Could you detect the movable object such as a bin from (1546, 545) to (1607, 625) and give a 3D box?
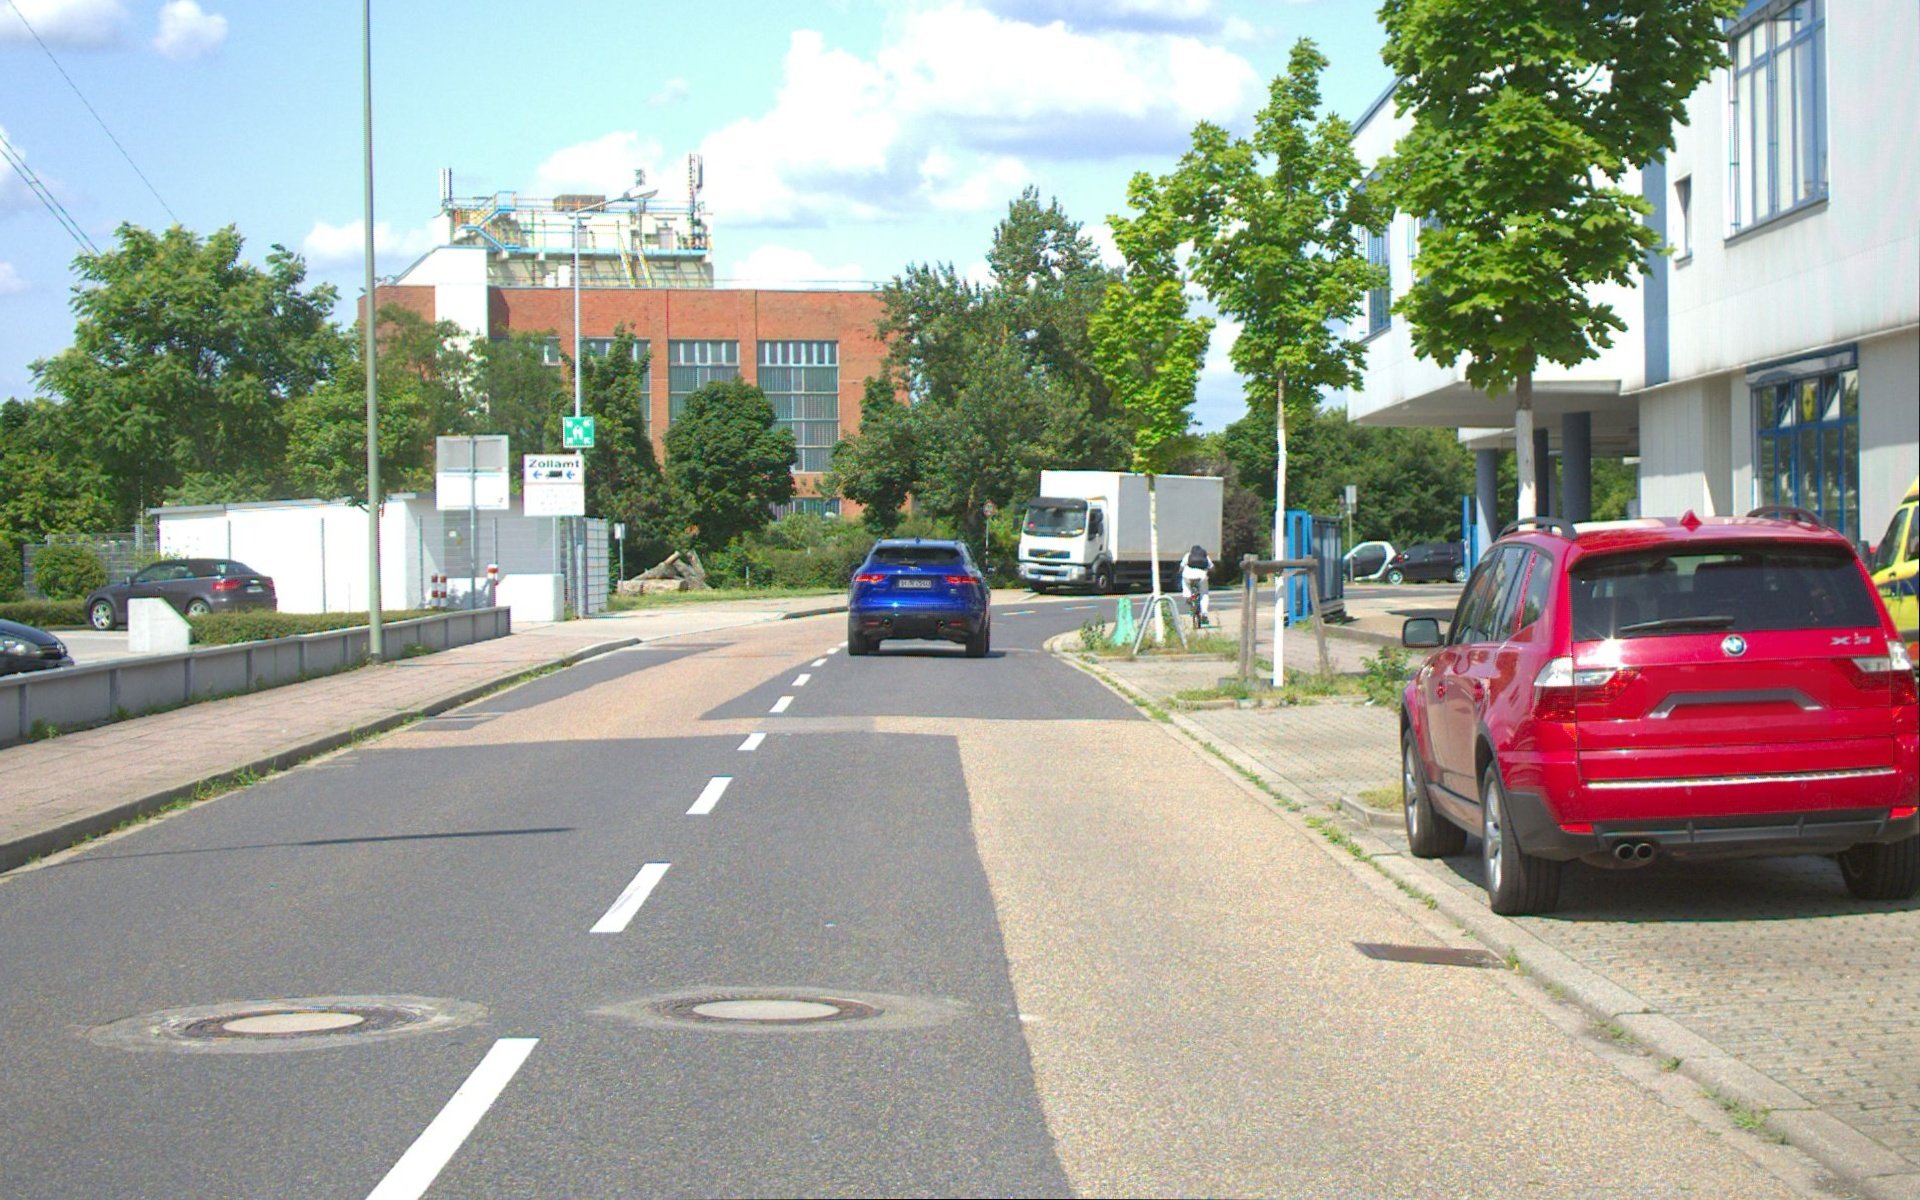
[{"bbox_3d":[10.949,-0.276,61.094,0.804,1.409,1.175,0,0,-3],"label":"movable object such as a bin"}]

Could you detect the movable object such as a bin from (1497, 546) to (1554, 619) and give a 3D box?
[{"bbox_3d":[11.016,-0.351,67.009,0.804,1.409,1.358,0,1,-3],"label":"movable object such as a bin"}]

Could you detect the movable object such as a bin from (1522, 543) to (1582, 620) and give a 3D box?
[{"bbox_3d":[11.040,-0.349,64.117,0.804,1.409,1.406,0,1,-3],"label":"movable object such as a bin"}]

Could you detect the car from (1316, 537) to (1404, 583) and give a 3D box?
[{"bbox_3d":[13.747,-1.365,118.128,2.898,1.564,1.890,0,0,3],"label":"car"}]

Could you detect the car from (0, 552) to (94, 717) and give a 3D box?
[{"bbox_3d":[-9.715,0.298,29.741,3.987,1.371,1.804,-1,1,0],"label":"car"}]

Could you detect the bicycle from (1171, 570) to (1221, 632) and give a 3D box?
[{"bbox_3d":[4.396,0.017,63.829,0.667,1.105,2.167,-1,1,11],"label":"bicycle"}]

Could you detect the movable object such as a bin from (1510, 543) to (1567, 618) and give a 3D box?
[{"bbox_3d":[11.021,-0.374,65.529,0.804,1.409,1.358,0,1,-3],"label":"movable object such as a bin"}]

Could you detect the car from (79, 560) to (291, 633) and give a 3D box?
[{"bbox_3d":[-15.285,-0.080,67.726,3.994,1.373,1.800,0,1,34],"label":"car"}]

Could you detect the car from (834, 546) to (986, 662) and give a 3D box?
[{"bbox_3d":[-0.674,0.024,49.436,1.909,1.588,4.701,0,1,3],"label":"car"}]

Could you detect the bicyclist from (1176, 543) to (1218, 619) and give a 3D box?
[{"bbox_3d":[4.408,-0.351,63.917,0.663,1.393,0.858,-1,1,11],"label":"bicyclist"}]

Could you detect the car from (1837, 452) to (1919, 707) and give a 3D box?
[{"bbox_3d":[10.181,-0.198,33.393,1.924,2.455,5.260,0,1,-1],"label":"car"}]

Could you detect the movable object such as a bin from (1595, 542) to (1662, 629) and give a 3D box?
[{"bbox_3d":[11.041,-0.244,56.807,0.804,1.409,1.358,0,1,-1],"label":"movable object such as a bin"}]

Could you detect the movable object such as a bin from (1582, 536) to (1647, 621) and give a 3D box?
[{"bbox_3d":[11.089,-0.367,58.275,0.804,1.409,1.358,0,1,-1],"label":"movable object such as a bin"}]

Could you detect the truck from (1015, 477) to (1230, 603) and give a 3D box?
[{"bbox_3d":[4.938,-1.851,102.025,2.325,3.555,9.352,2,2,30],"label":"truck"}]

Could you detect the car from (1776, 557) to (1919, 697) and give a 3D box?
[{"bbox_3d":[10.377,0.264,38.395,1.572,1.485,3.817,0,1,-1],"label":"car"}]

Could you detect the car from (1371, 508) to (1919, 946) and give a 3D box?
[{"bbox_3d":[3.044,0.475,15.837,1.755,1.645,4.677,-3,1,1],"label":"car"}]

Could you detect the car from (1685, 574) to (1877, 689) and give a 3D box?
[{"bbox_3d":[10.471,0.370,44.081,1.496,1.398,3.855,0,1,-1],"label":"car"}]
